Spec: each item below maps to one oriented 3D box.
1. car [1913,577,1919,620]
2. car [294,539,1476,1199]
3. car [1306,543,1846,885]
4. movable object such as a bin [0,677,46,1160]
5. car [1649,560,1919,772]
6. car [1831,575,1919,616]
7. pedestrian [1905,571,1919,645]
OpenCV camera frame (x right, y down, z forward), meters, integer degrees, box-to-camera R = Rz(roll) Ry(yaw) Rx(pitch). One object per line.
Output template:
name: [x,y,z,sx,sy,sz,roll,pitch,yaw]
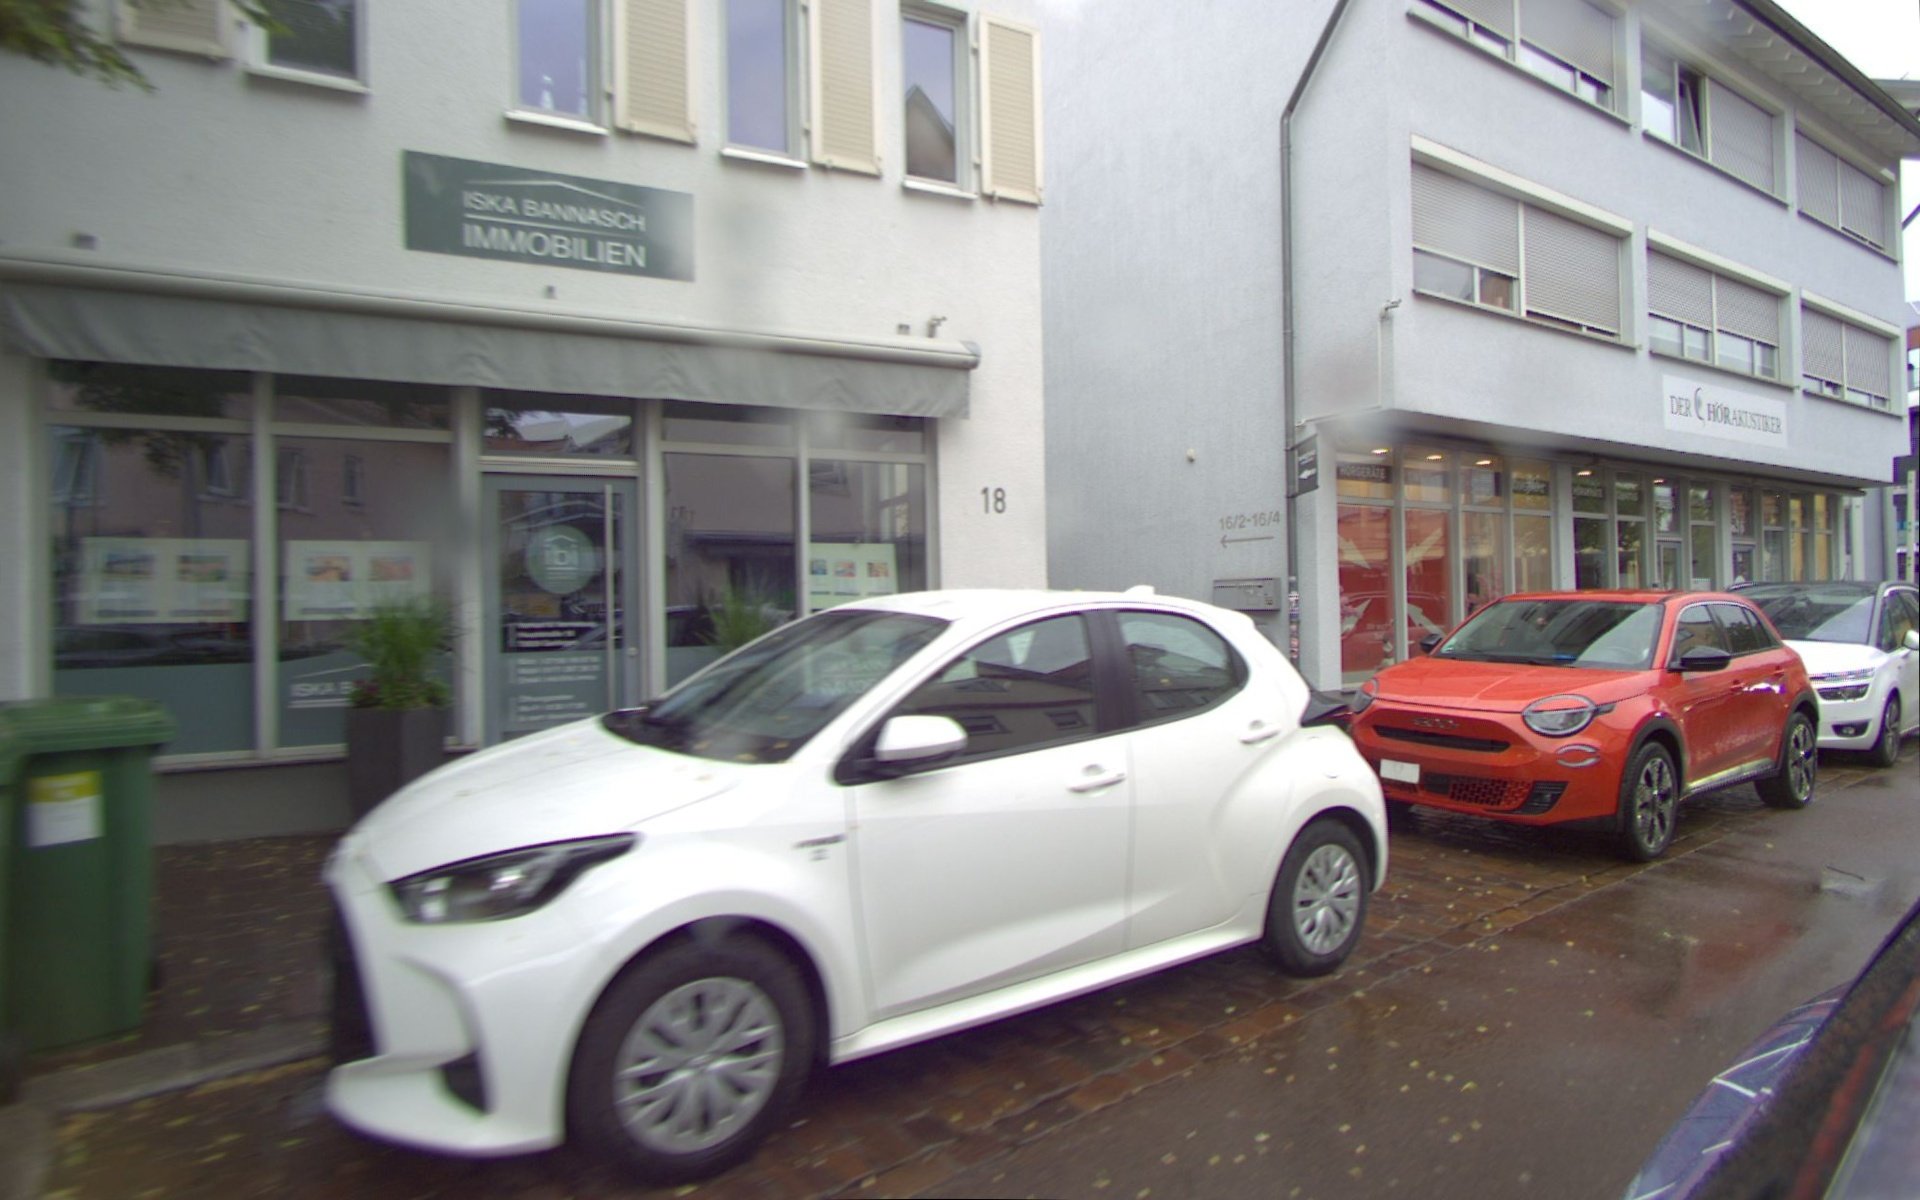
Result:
car: [36.798,-0.055,36.061,1.685,1.594,4.004,-1,0,-5]
car: [0.015,0.621,3.936,4.319,1.558,1.695,-1,0,-35]
car: [4.289,0.536,6.871,3.882,1.711,1.695,-1,0,-35]
movable object such as a bin: [-2.687,0.811,2.597,0.492,1.164,0.531,-1,0,-42]
car: [8.662,0.496,10.110,4.200,1.711,1.694,-1,0,-37]
car: [37.603,-0.194,40.571,1.685,1.594,4.004,-1,0,-5]
pedestrian: [23.938,0.191,25.034,0.667,1.834,0.674,-1,0,29]
